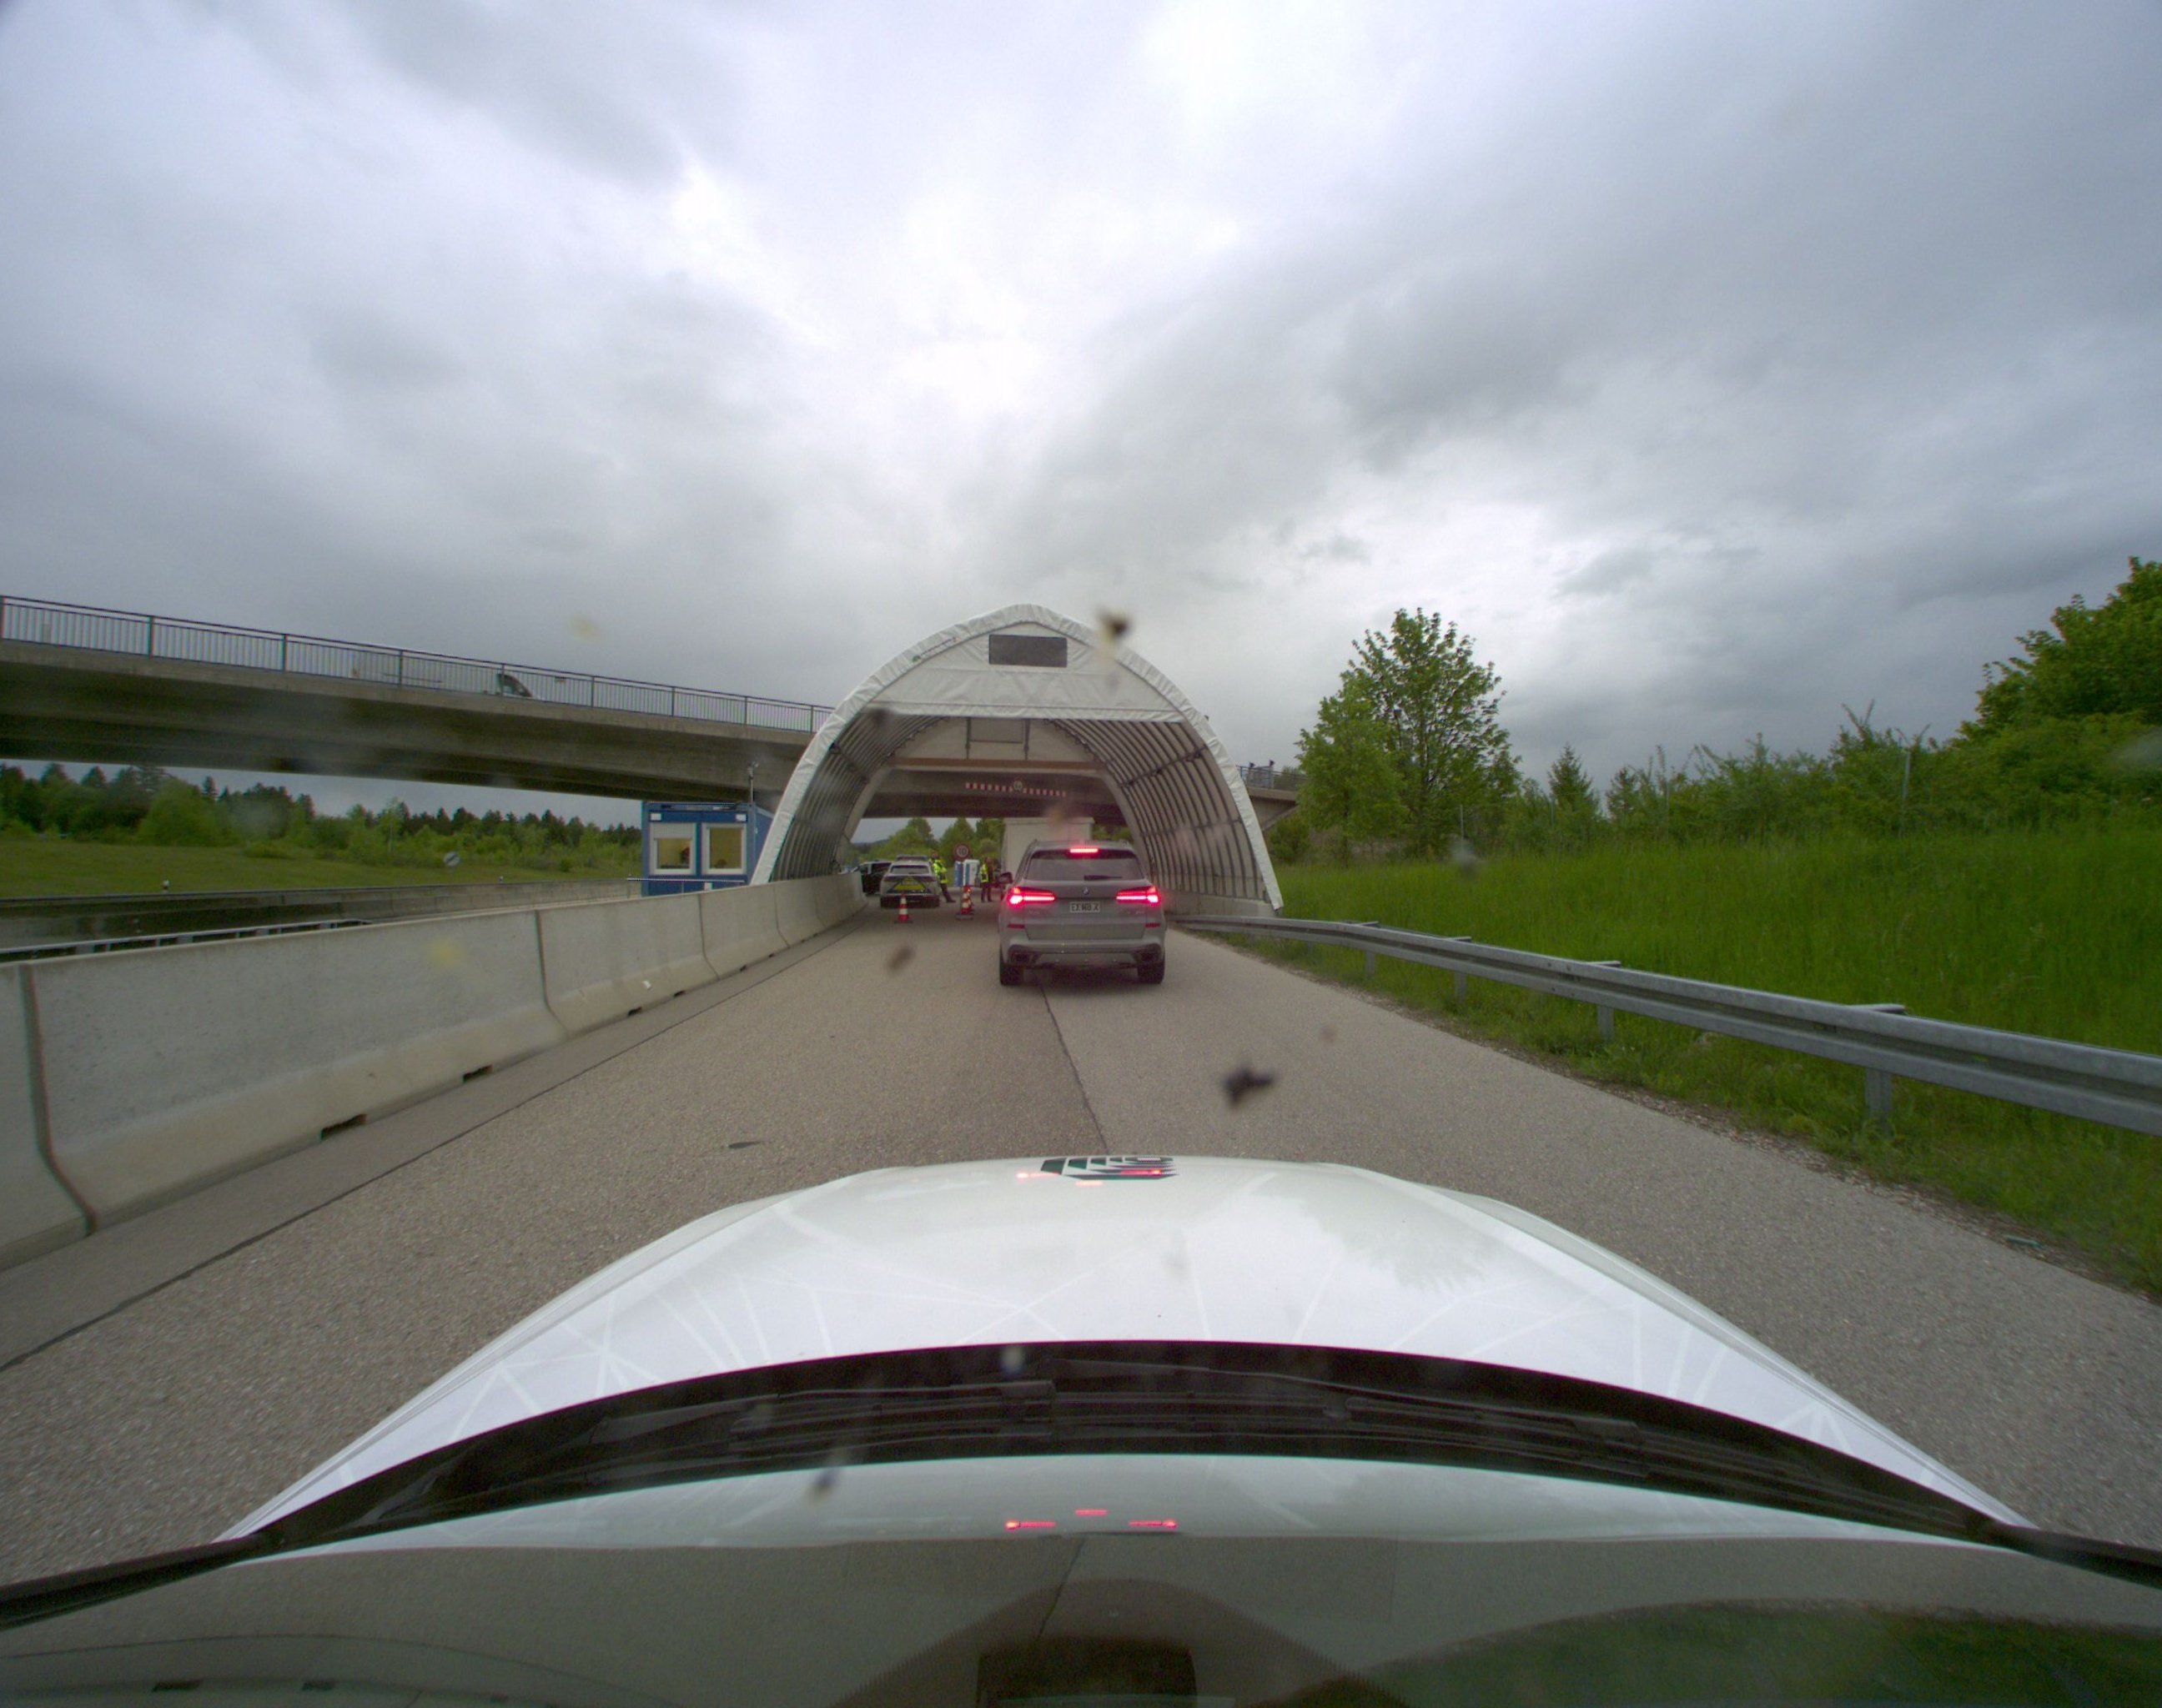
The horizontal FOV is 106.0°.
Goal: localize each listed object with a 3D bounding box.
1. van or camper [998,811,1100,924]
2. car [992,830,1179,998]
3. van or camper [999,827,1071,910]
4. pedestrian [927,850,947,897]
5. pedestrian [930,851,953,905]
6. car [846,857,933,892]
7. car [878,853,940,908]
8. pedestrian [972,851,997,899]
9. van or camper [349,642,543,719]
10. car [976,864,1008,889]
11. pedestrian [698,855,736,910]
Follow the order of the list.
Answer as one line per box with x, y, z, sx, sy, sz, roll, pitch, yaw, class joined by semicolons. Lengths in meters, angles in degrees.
-1.058;0.341;21.963;2.227;2.552;6.595;-1;-1;-6;van or camper
-0.155;0.661;10.863;1.992;1.765;3.990;-1;-1;-7;car
-1.693;0.475;28.057;2.102;2.519;5.537;-1;-1;-7;van or camper
-5.418;0.734;30.663;0.607;1.754;0.665;-1;-1;-4;pedestrian
-5.084;0.849;29.588;0.750;1.919;0.759;-1;-1;-13;pedestrian
-11.662;1.258;49.766;4.777;2.014;1.845;-1;-1;9;car
-5.780;0.855;27.418;1.879;1.647;3.983;-1;-1;-12;car
-3.562;0.753;29.958;0.756;1.722;0.778;-1;-1;-16;pedestrian
-23.075;-6.265;29.884;5.477;1.770;1.875;0;-1;-37;van or camper
-6.483;1.596;59.096;1.994;1.722;3.882;-1;-1;-11;car
-9.249;0.719;20.694;0.606;1.373;0.629;-2;-1;10;pedestrian
